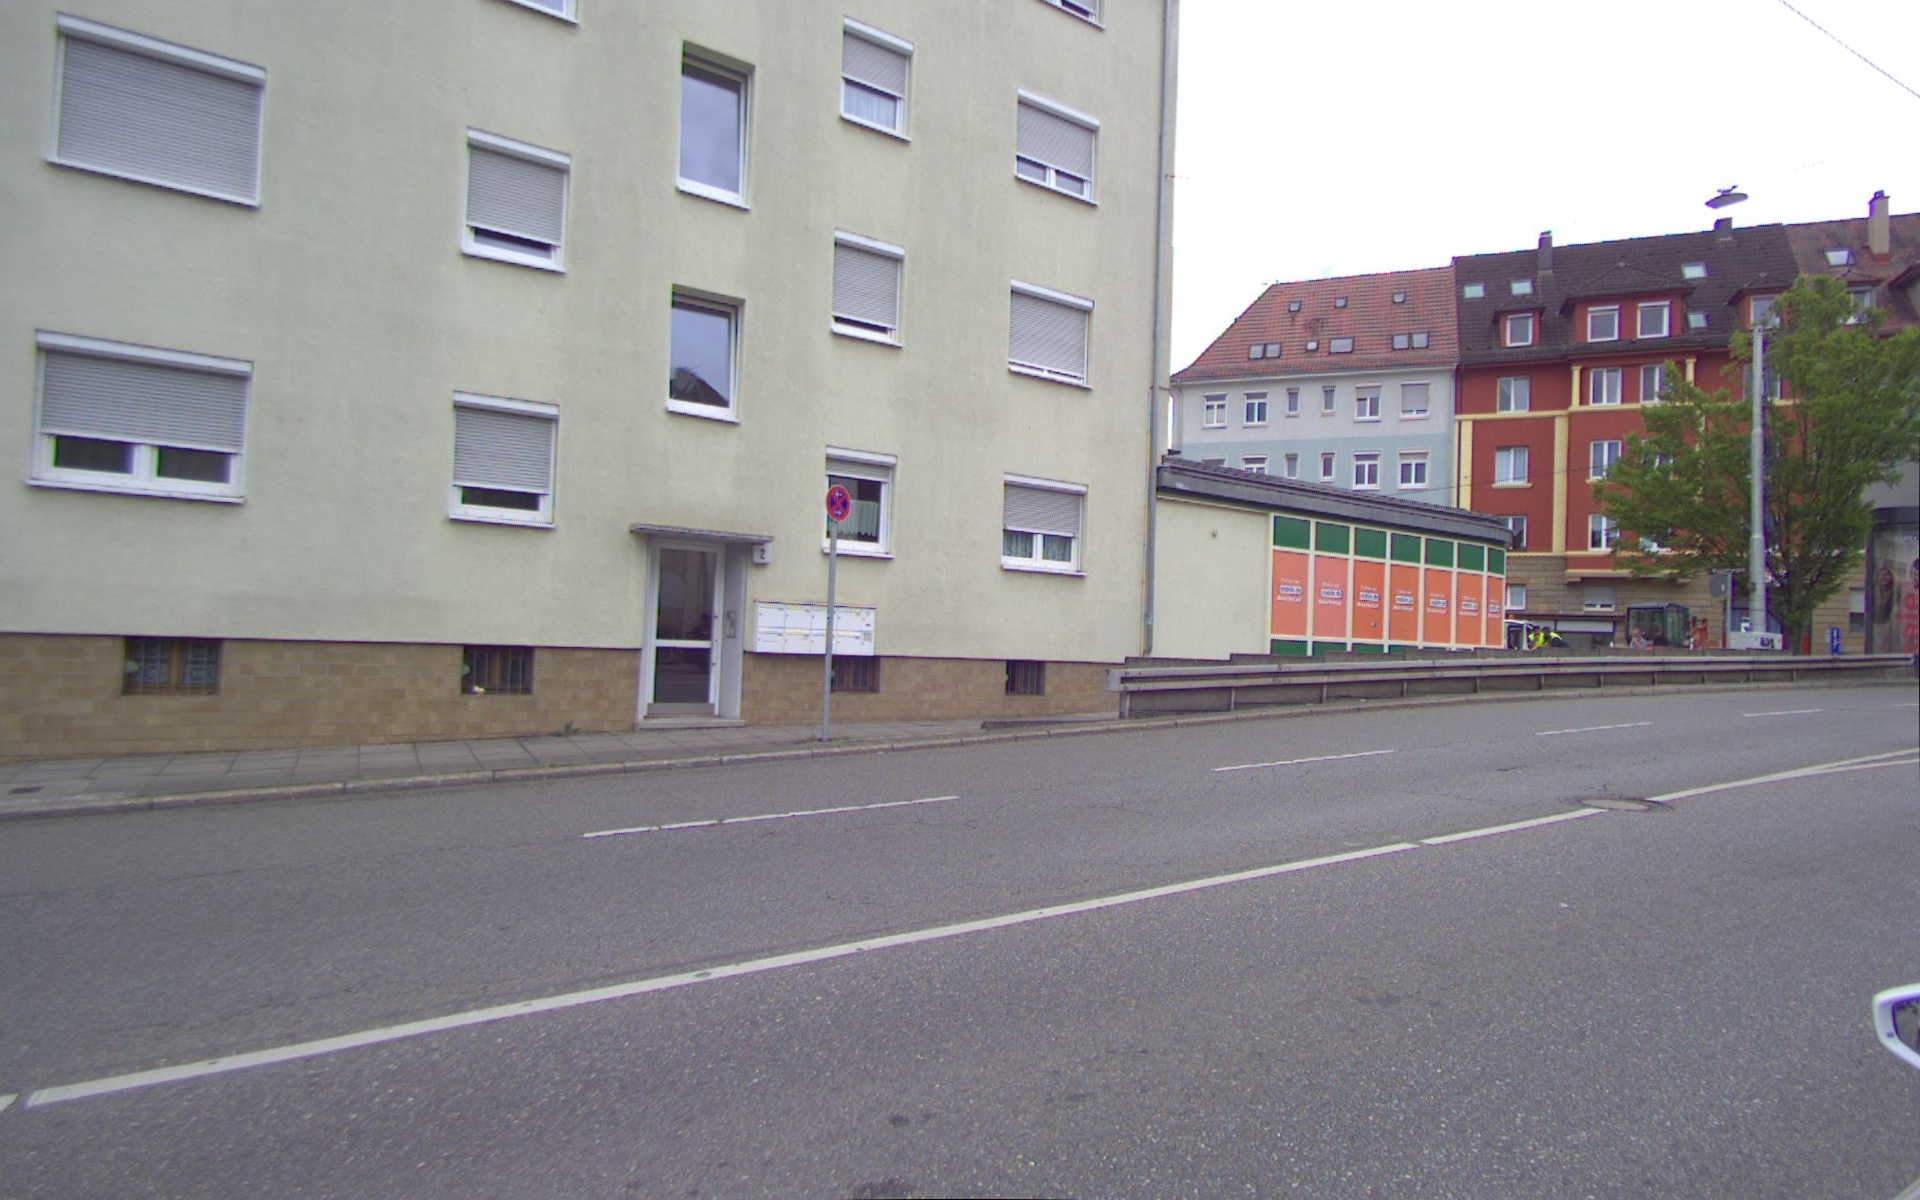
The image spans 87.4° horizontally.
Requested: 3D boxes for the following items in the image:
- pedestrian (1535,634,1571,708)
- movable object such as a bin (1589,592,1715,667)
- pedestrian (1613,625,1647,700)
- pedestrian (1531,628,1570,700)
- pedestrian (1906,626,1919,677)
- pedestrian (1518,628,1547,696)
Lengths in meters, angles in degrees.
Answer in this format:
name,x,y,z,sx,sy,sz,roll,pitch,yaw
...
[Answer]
name,x,y,z,sx,sy,sz,roll,pitch,yaw
pedestrian,14.420,1.714,24.427,0.539,1.722,0.557,1,1,-41
movable object such as a bin,18.355,0.749,26.569,3.972,1.795,1.884,1,1,-43
pedestrian,16.121,1.496,24.175,0.533,1.753,0.593,3,1,26
pedestrian,15.101,1.631,25.680,0.605,1.785,0.573,2,1,6
pedestrian,30.042,1.613,31.329,0.480,1.588,0.587,1,1,-29
pedestrian,15.232,1.635,26.724,0.467,1.753,0.543,2,1,15
